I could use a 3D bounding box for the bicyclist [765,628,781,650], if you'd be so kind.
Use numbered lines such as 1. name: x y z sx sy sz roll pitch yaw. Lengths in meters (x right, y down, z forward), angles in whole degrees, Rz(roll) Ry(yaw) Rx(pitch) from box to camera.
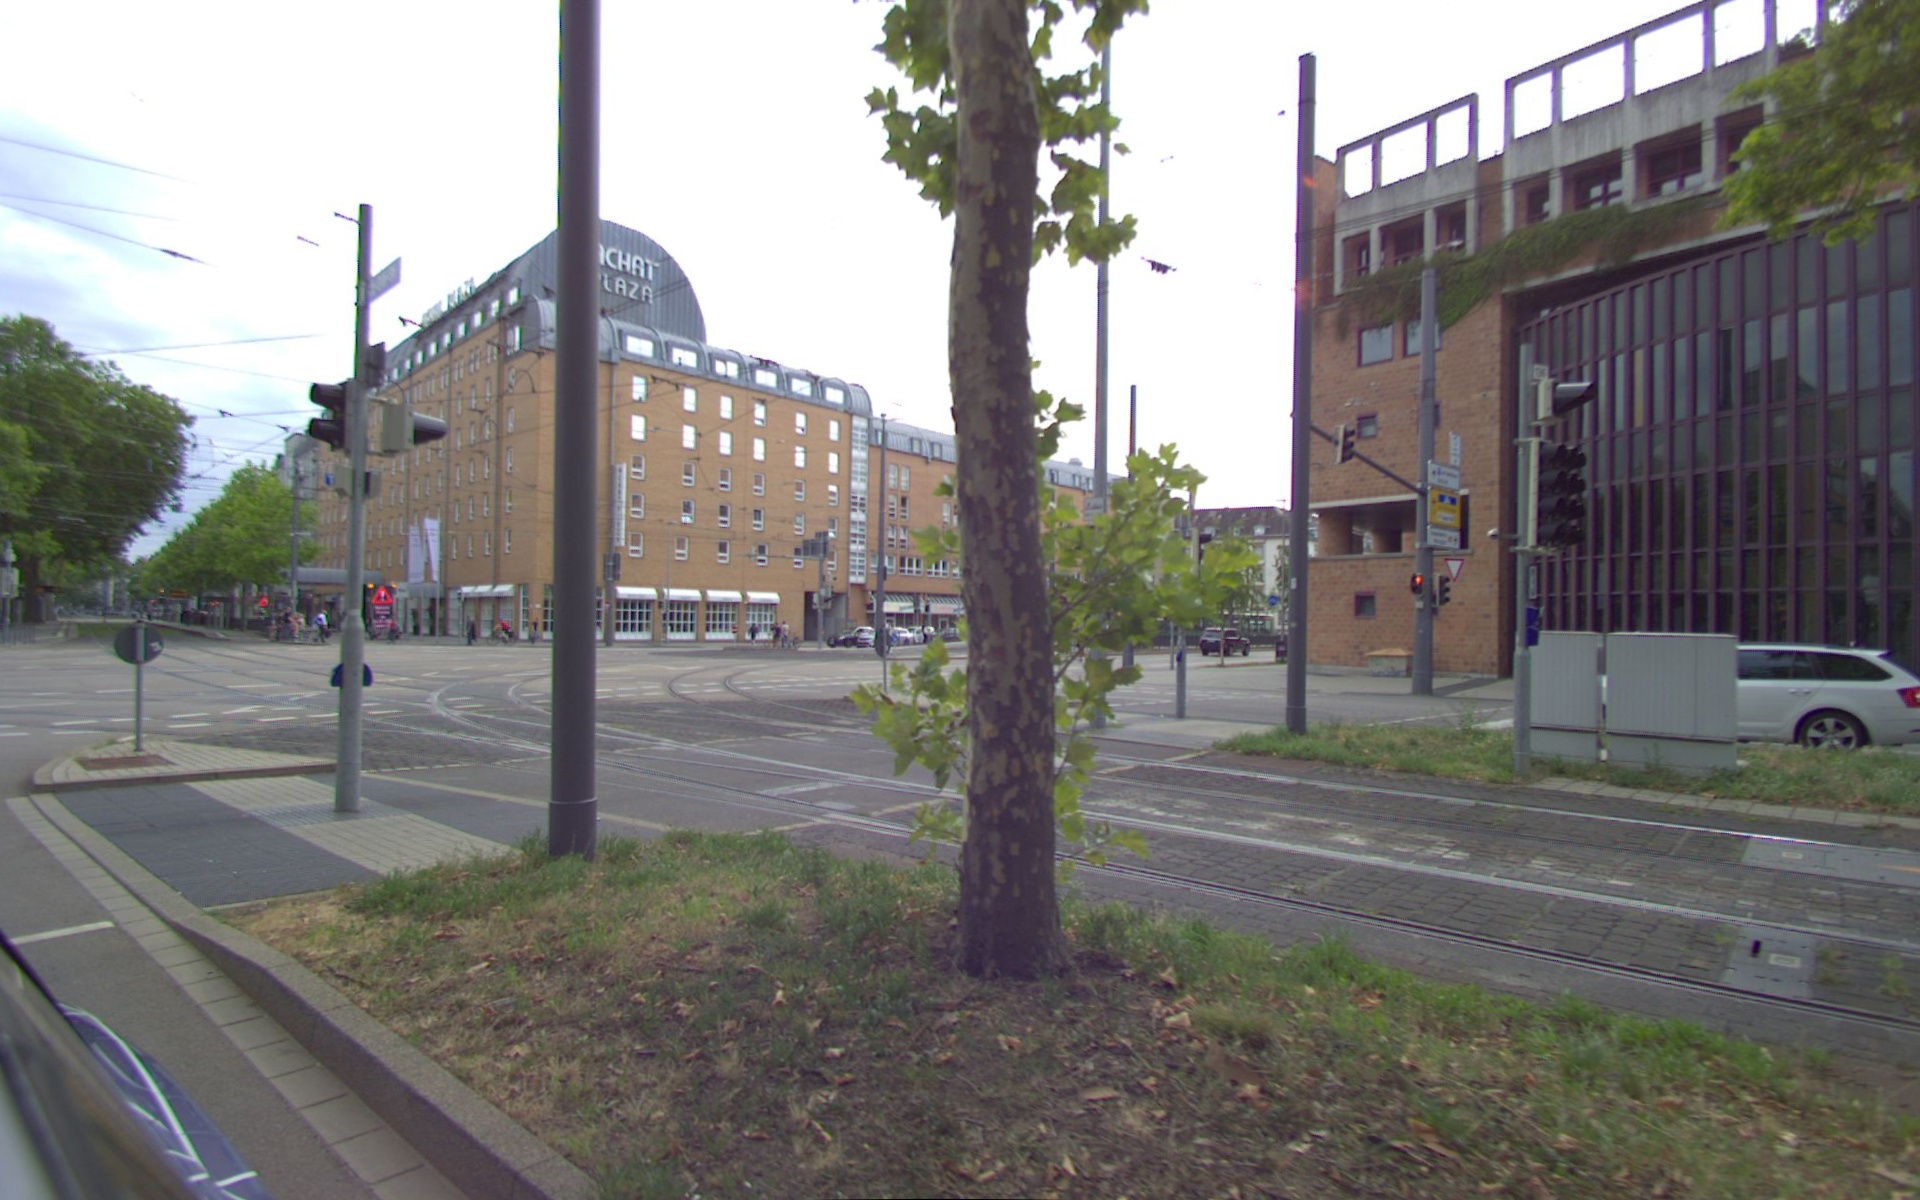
1. bicyclist: -13.179 2.765 71.235 0.636 1.513 0.854 -1 -2 39

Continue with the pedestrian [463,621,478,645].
1. pedestrian: -31.900 2.133 65.992 0.642 1.518 0.533 1 -1 7

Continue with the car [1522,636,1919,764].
1. car: 10.476 1.252 13.829 4.655 1.432 1.765 0 -2 41

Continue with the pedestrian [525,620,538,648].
1. pedestrian: -27.037 2.155 63.853 0.738 1.745 0.580 2 -2 -26

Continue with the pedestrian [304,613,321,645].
1. pedestrian: -35.581 1.585 55.579 0.577 1.719 0.557 1 -2 33

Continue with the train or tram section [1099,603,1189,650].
1. train or tram section: 14.523 2.135 79.174 2.575 3.477 9.480 -1 -2 40

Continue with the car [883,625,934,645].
1. car: -3.949 2.657 77.578 1.700 1.453 3.948 1 -2 39

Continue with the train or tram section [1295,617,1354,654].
1. train or tram section: 36.701 3.594 101.660 2.450 3.477 9.480 -1 -2 40

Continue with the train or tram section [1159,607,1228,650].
1. train or tram section: 19.848 2.445 85.638 2.575 3.477 7.521 -1 -2 40

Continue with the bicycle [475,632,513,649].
1. bicycle: -28.733 2.491 62.435 2.025 1.016 0.642 2 -2 -30

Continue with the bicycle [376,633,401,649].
1. bicycle: -35.529 2.534 62.957 1.890 0.943 0.651 1 -2 38

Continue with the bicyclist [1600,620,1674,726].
1. bicyclist: 10.861 1.144 16.234 0.901 1.622 0.715 -1 -2 41

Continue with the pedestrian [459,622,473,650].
1. pedestrian: -30.435 2.199 62.378 0.535 1.719 0.556 0 -2 42

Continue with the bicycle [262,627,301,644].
1. bicycle: -37.197 1.957 55.465 0.500 0.895 1.687 0 -2 44

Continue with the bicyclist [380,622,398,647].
1. bicyclist: -35.538 2.130 62.989 0.816 1.512 0.643 1 -2 37

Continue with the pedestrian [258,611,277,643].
1. pedestrian: -38.775 1.512 56.695 0.533 1.719 0.677 1 -2 33

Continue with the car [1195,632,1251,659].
1. car: 16.856 2.905 64.741 1.931 1.620 4.474 1 -2 37

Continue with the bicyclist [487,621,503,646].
1. bicyclist: -28.698 2.074 62.454 0.851 1.512 0.638 2 -2 -29

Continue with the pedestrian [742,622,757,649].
1. pedestrian: -13.613 2.297 65.334 0.749 1.745 0.571 -1 -2 35

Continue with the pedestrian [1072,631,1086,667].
1. pedestrian: 5.793 2.363 49.117 0.460 1.722 0.475 0 -2 44

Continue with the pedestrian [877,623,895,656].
1. pedestrian: -3.975 2.100 54.298 0.750 1.745 0.571 0 -2 40

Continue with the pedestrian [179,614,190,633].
1. pedestrian: -70.942 2.114 92.584 0.639 1.719 0.625 3 -3 -43

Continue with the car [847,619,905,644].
1. car: -5.865 2.212 70.692 1.799 1.697 3.948 1 -2 39

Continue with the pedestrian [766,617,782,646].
1. pedestrian: -11.585 1.963 63.123 0.749 1.745 0.571 1 -2 35

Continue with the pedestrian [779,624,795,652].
1. pedestrian: -10.911 2.417 63.791 0.749 1.745 0.571 1 -2 35

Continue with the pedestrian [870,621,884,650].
1. pedestrian: -5.145 2.201 62.704 0.576 1.745 0.625 1 -2 31

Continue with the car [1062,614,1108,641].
1. car: 11.199 2.491 90.500 1.700 2.337 5.018 -1 -2 38

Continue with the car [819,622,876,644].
1. car: -7.963 2.370 72.002 1.799 1.490 3.948 0 -2 39

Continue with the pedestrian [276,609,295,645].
1. pedestrian: -36.877 1.473 55.302 0.534 1.966 0.684 0 -2 40

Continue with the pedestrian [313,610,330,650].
1. pedestrian: -34.467 1.629 54.645 0.533 2.146 0.557 1 -2 33

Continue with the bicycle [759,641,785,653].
1. bicycle: -13.212 3.285 71.195 0.639 0.787 1.773 -1 -2 39

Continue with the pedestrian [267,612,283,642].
1. pedestrian: -39.479 1.554 58.358 0.533 1.719 0.557 1 -2 33

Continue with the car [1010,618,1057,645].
1. car: 6.594 2.816 90.277 1.700 2.247 4.772 1 -2 38
